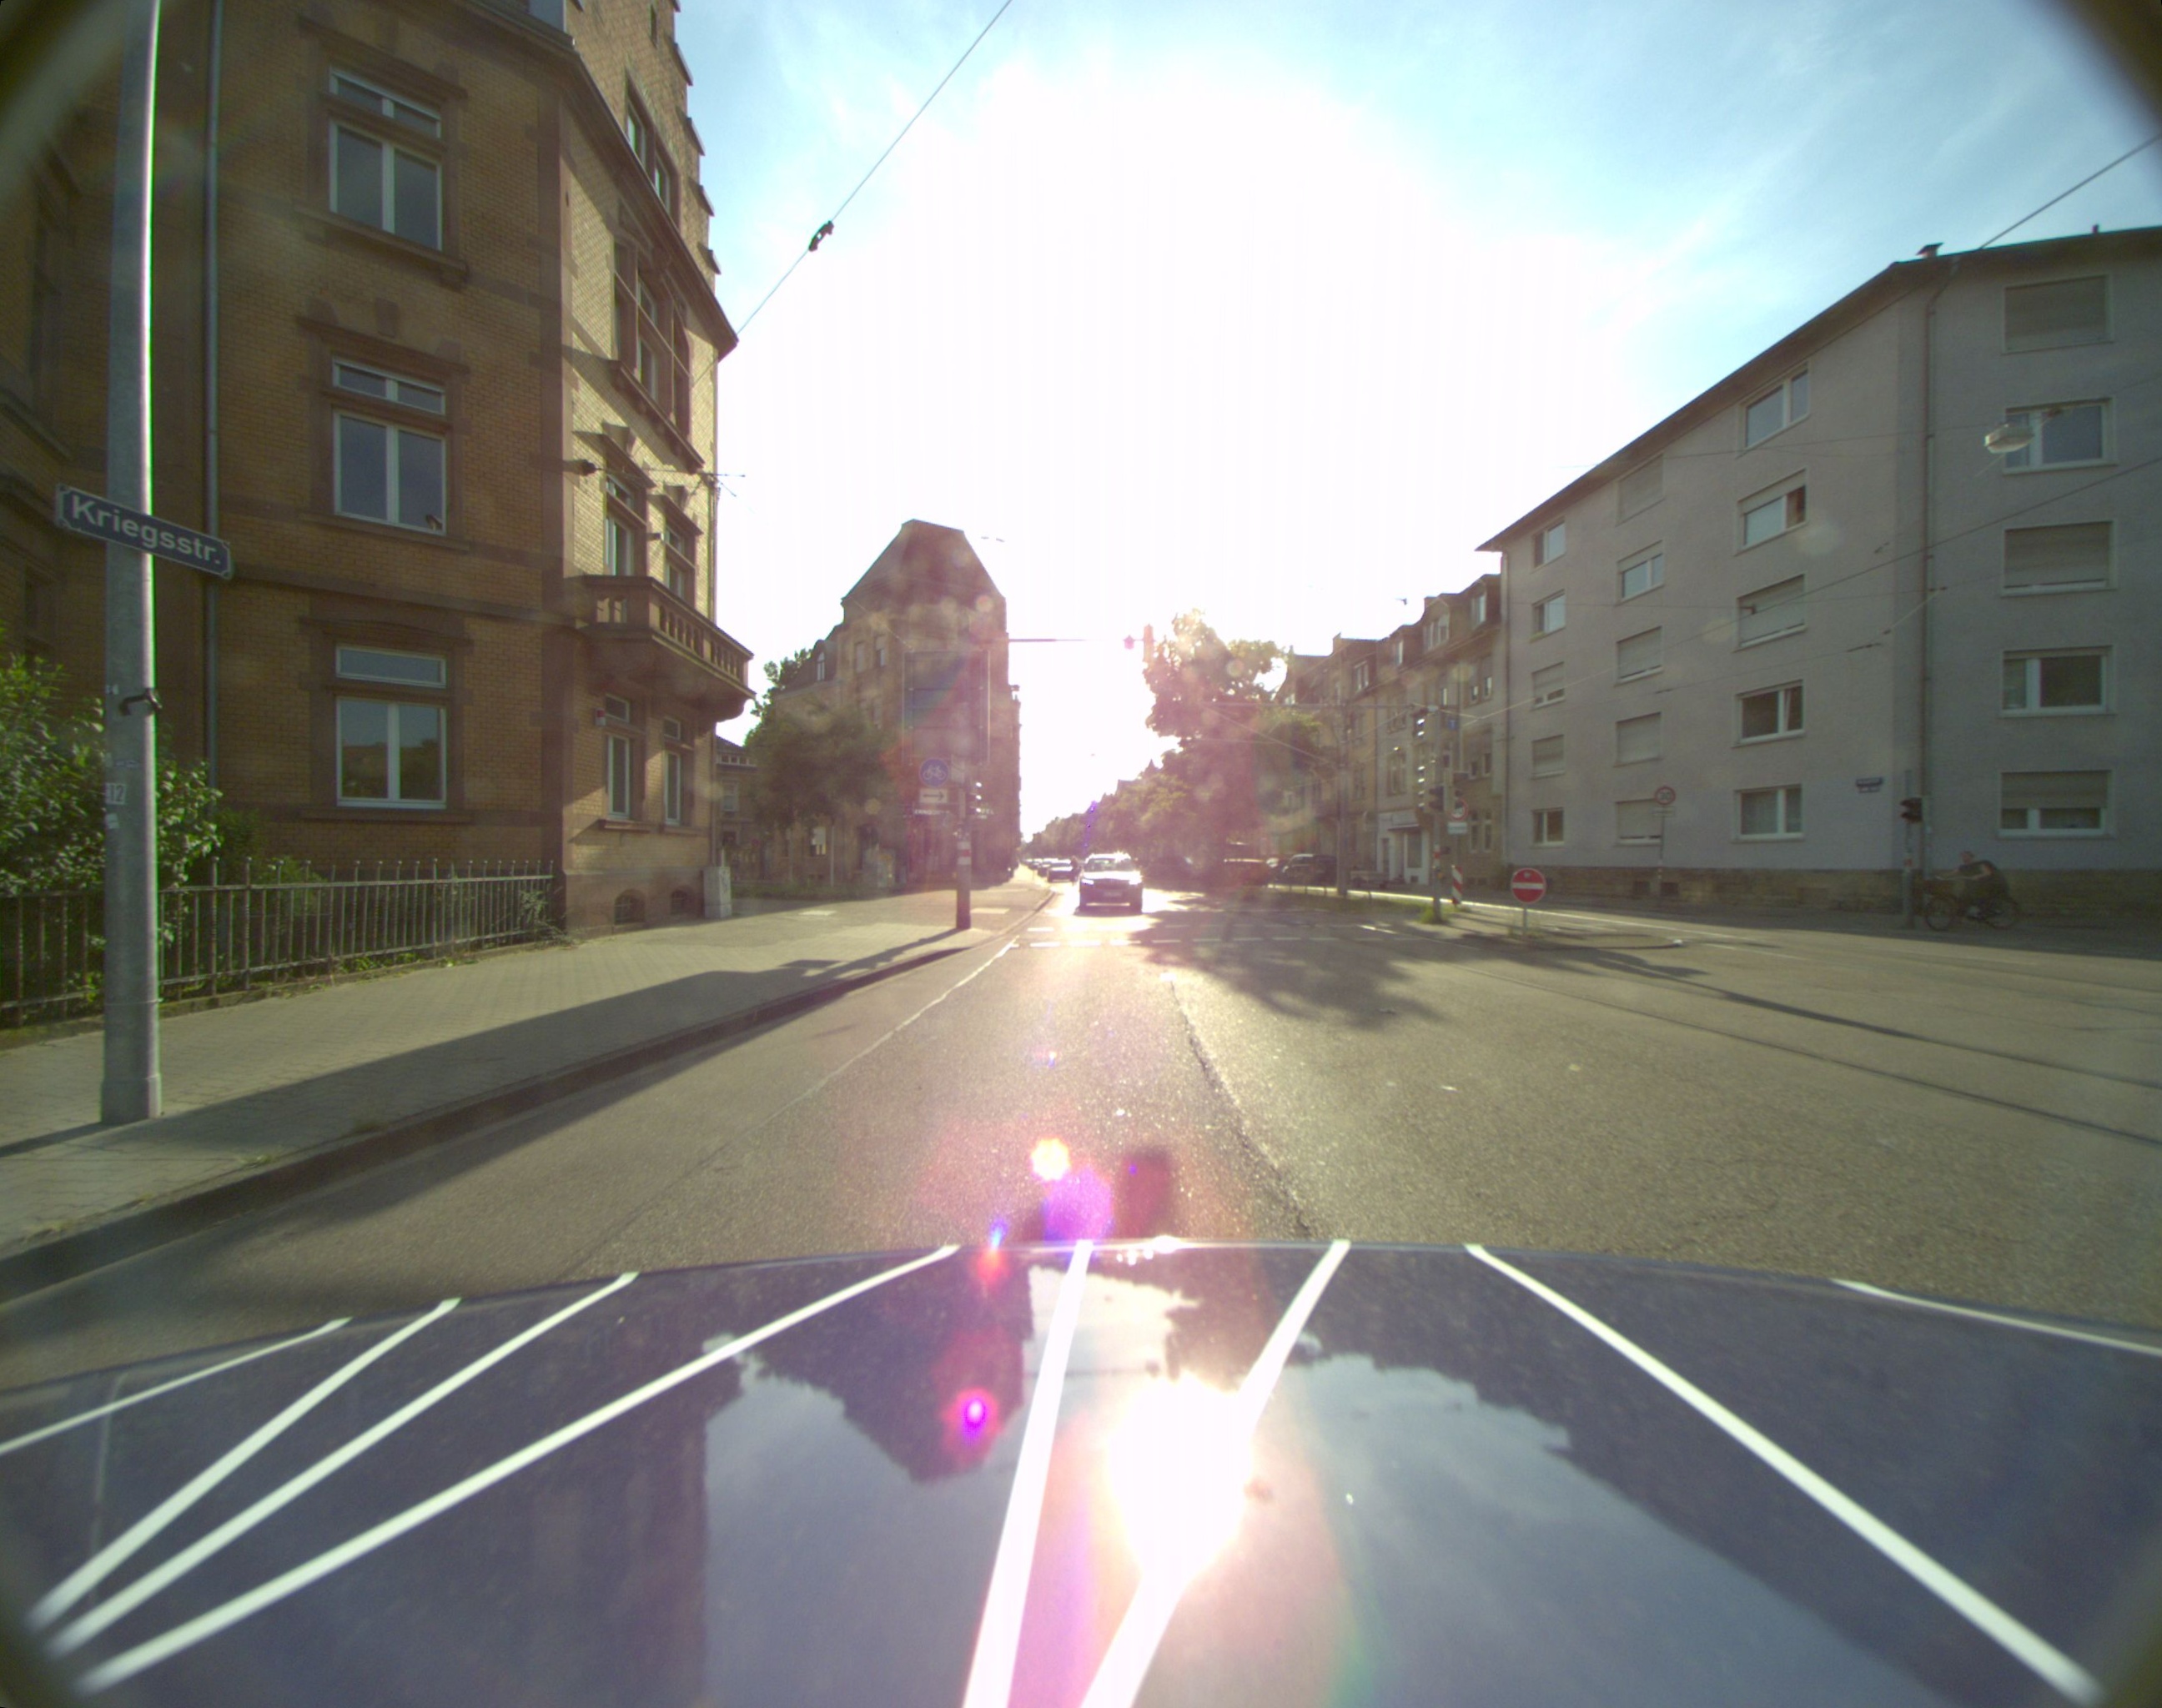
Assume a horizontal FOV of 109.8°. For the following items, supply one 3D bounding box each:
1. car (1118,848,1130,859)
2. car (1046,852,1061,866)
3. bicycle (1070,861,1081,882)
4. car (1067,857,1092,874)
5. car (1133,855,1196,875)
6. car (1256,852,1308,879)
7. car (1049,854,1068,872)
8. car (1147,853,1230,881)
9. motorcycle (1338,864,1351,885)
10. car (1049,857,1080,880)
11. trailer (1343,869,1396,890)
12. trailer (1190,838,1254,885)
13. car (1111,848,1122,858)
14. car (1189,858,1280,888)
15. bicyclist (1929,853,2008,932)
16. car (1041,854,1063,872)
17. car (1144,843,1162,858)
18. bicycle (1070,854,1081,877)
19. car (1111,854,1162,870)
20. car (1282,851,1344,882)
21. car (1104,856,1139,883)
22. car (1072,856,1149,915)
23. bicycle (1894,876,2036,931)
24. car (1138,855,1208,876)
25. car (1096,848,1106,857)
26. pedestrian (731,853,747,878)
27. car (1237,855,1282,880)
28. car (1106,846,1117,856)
[{"bbox_3d":[8.105,-0.164,143.228,1.999,2.002,4.000,-1,0,-1],"label":"car"},{"bbox_3d":[-4.140,0.683,113.333,1.999,2.002,3.998,0,0,-4],"label":"car"},{"bbox_3d":[-0.320,0.997,43.712,0.484,1.183,1.339,-1,0,-4],"label":"bicycle"},{"bbox_3d":[-0.140,1.079,72.355,1.999,1.564,3.998,-1,0,-6],"label":"car"},{"bbox_3d":[6.282,0.837,57.397,4.294,1.414,1.963,-1,0,37],"label":"car"},{"bbox_3d":[13.860,0.749,52.670,2.171,1.739,4.609,-1,0,-2],"label":"car"},{"bbox_3d":[-2.588,1.037,86.117,1.999,2.002,3.998,0,0,-4],"label":"car"},{"bbox_3d":[6.724,0.771,47.770,4.704,1.680,2.177,0,0,38],"label":"car"},{"bbox_3d":[14.594,1.121,42.080,0.636,1.074,1.736,-1,0,20],"label":"motorcycle"},{"bbox_3d":[-1.172,1.013,53.298,1.841,1.494,4.264,-1,0,-6],"label":"car"},{"bbox_3d":[14.991,1.291,39.605,1.444,0.891,2.878,-6,0,-4],"label":"trailer"},{"bbox_3d":[7.396,0.410,39.875,2.859,2.378,1.726,-1,0,27],"label":"trailer"},{"bbox_3d":[7.243,-0.260,154.616,1.999,2.002,4.000,-1,0,-1],"label":"car"},{"bbox_3d":[7.354,0.900,36.555,3.942,1.352,1.676,0,0,32],"label":"car"},{"bbox_3d":[19.092,0.803,16.368,0.772,1.633,0.795,0,2,16],"label":"bicyclist"},{"bbox_3d":[-2.827,0.847,73.480,1.999,1.772,3.998,0,0,-5],"label":"car"},{"bbox_3d":[10.709,-0.499,112.553,1.999,2.002,3.999,-1,0,-4],"label":"car"},{"bbox_3d":[-0.327,0.643,43.739,0.575,1.290,0.688,-1,0,-4],"label":"bicycle"},{"bbox_3d":[5.258,0.793,71.956,4.260,1.414,2.176,-1,0,37],"label":"car"},{"bbox_3d":[13.969,0.717,46.039,2.171,1.739,4.717,-1,0,-2],"label":"car"},{"bbox_3d":[2.480,0.933,47.635,1.998,1.564,4.000,-1,0,0],"label":"car"},{"bbox_3d":[0.722,0.809,21.142,1.840,1.472,3.999,0,0,-2],"label":"car"},{"bbox_3d":[19.003,1.047,16.383,1.913,1.104,0.736,0,-1,17],"label":"bicycle"},{"bbox_3d":[6.536,0.836,53.889,4.598,1.373,1.705,-1,0,30],"label":"car"},{"bbox_3d":[4.970,-0.391,189.283,1.999,2.002,3.998,-1,0,-5],"label":"car"},{"bbox_3d":[-23.632,0.805,52.542,0.781,1.665,0.765,-1,1,44],"label":"pedestrian"},{"bbox_3d":[13.527,1.004,57.862,2.171,1.739,4.609,-1,0,-2],"label":"car"},{"bbox_3d":[6.756,-0.694,167.179,1.999,2.002,3.998,-1,0,-5],"label":"car"}]
